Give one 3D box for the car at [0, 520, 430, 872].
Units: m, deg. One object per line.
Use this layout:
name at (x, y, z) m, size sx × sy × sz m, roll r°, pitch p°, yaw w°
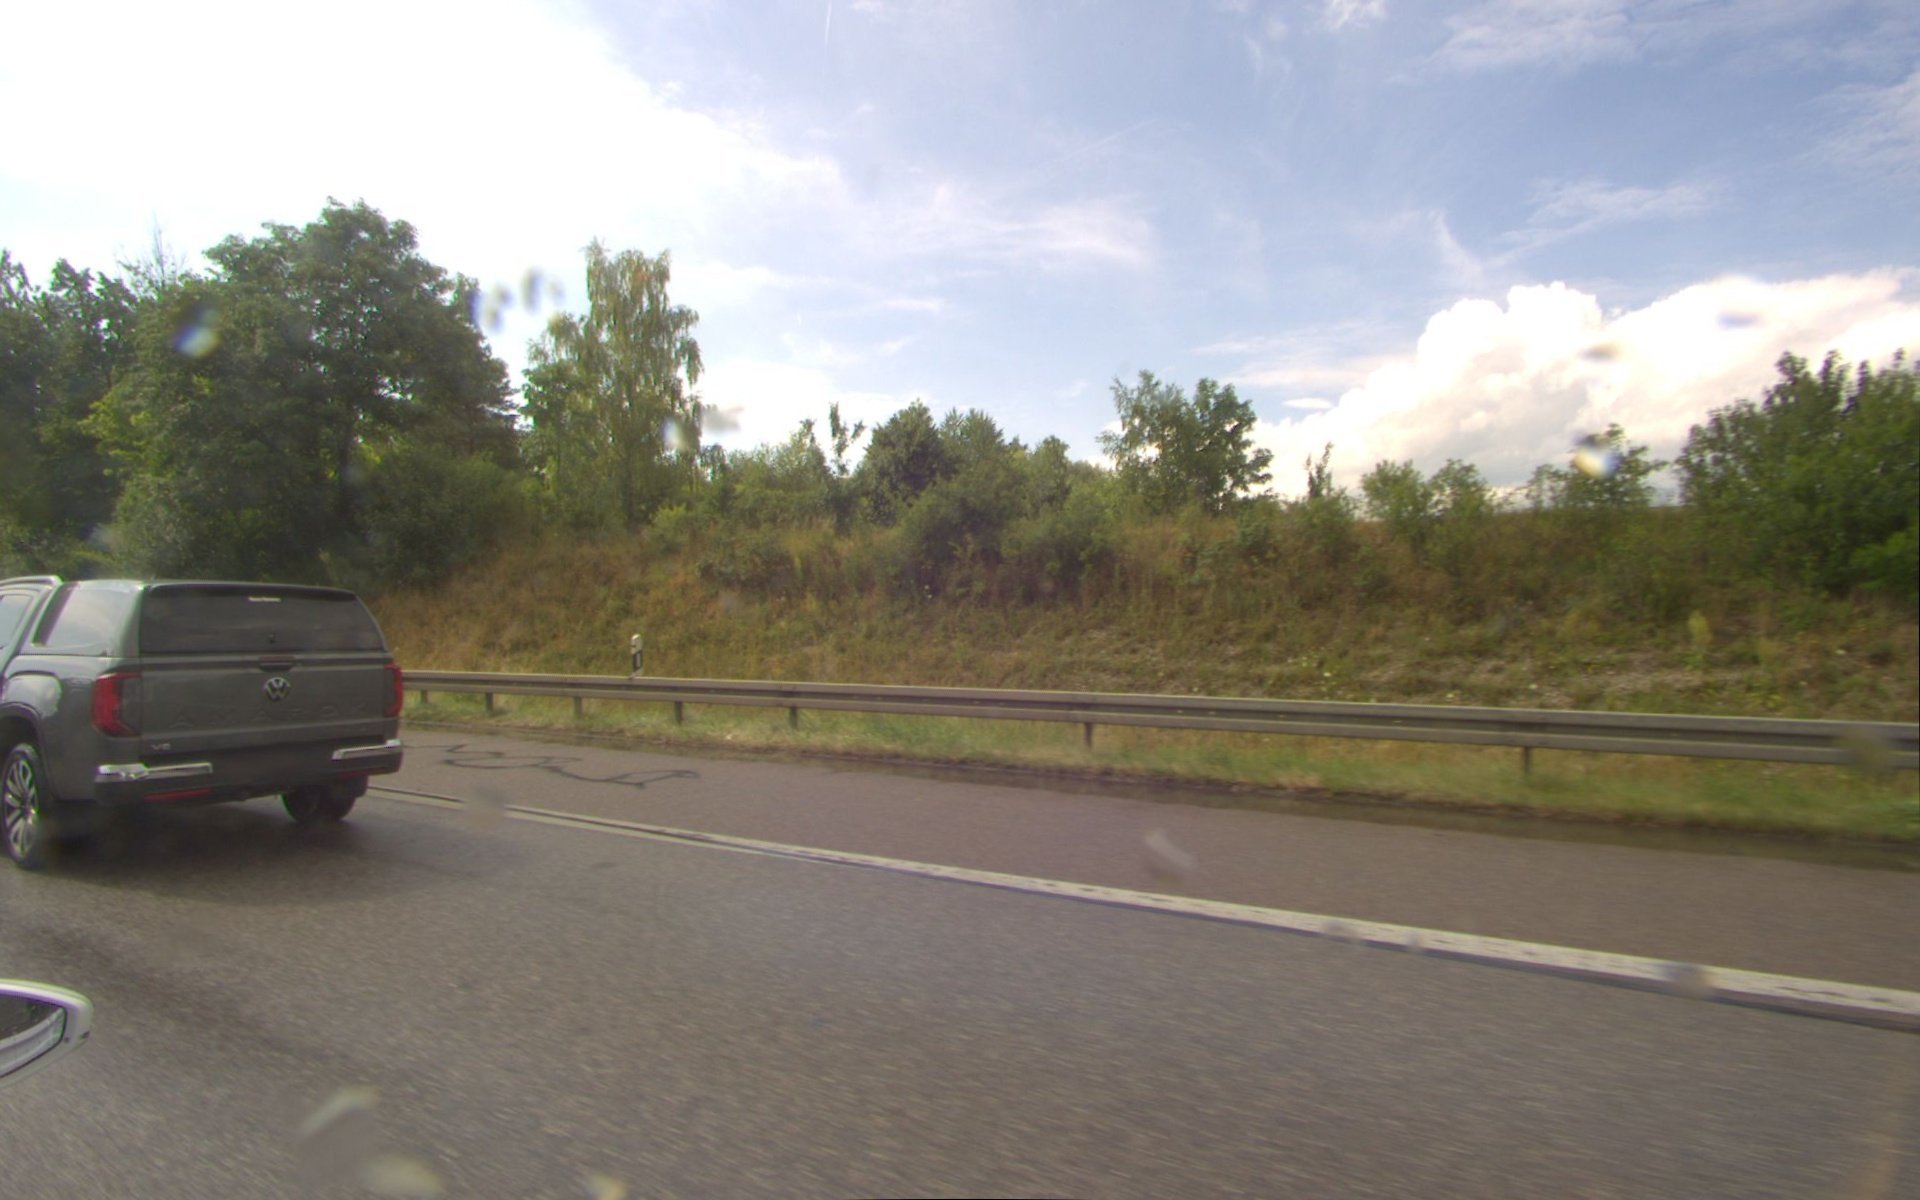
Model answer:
car at (-6.686, 0.607, 7.834) m, size 5.570 × 1.943 × 1.939 m, roll -1°, pitch -2°, yaw 31°
